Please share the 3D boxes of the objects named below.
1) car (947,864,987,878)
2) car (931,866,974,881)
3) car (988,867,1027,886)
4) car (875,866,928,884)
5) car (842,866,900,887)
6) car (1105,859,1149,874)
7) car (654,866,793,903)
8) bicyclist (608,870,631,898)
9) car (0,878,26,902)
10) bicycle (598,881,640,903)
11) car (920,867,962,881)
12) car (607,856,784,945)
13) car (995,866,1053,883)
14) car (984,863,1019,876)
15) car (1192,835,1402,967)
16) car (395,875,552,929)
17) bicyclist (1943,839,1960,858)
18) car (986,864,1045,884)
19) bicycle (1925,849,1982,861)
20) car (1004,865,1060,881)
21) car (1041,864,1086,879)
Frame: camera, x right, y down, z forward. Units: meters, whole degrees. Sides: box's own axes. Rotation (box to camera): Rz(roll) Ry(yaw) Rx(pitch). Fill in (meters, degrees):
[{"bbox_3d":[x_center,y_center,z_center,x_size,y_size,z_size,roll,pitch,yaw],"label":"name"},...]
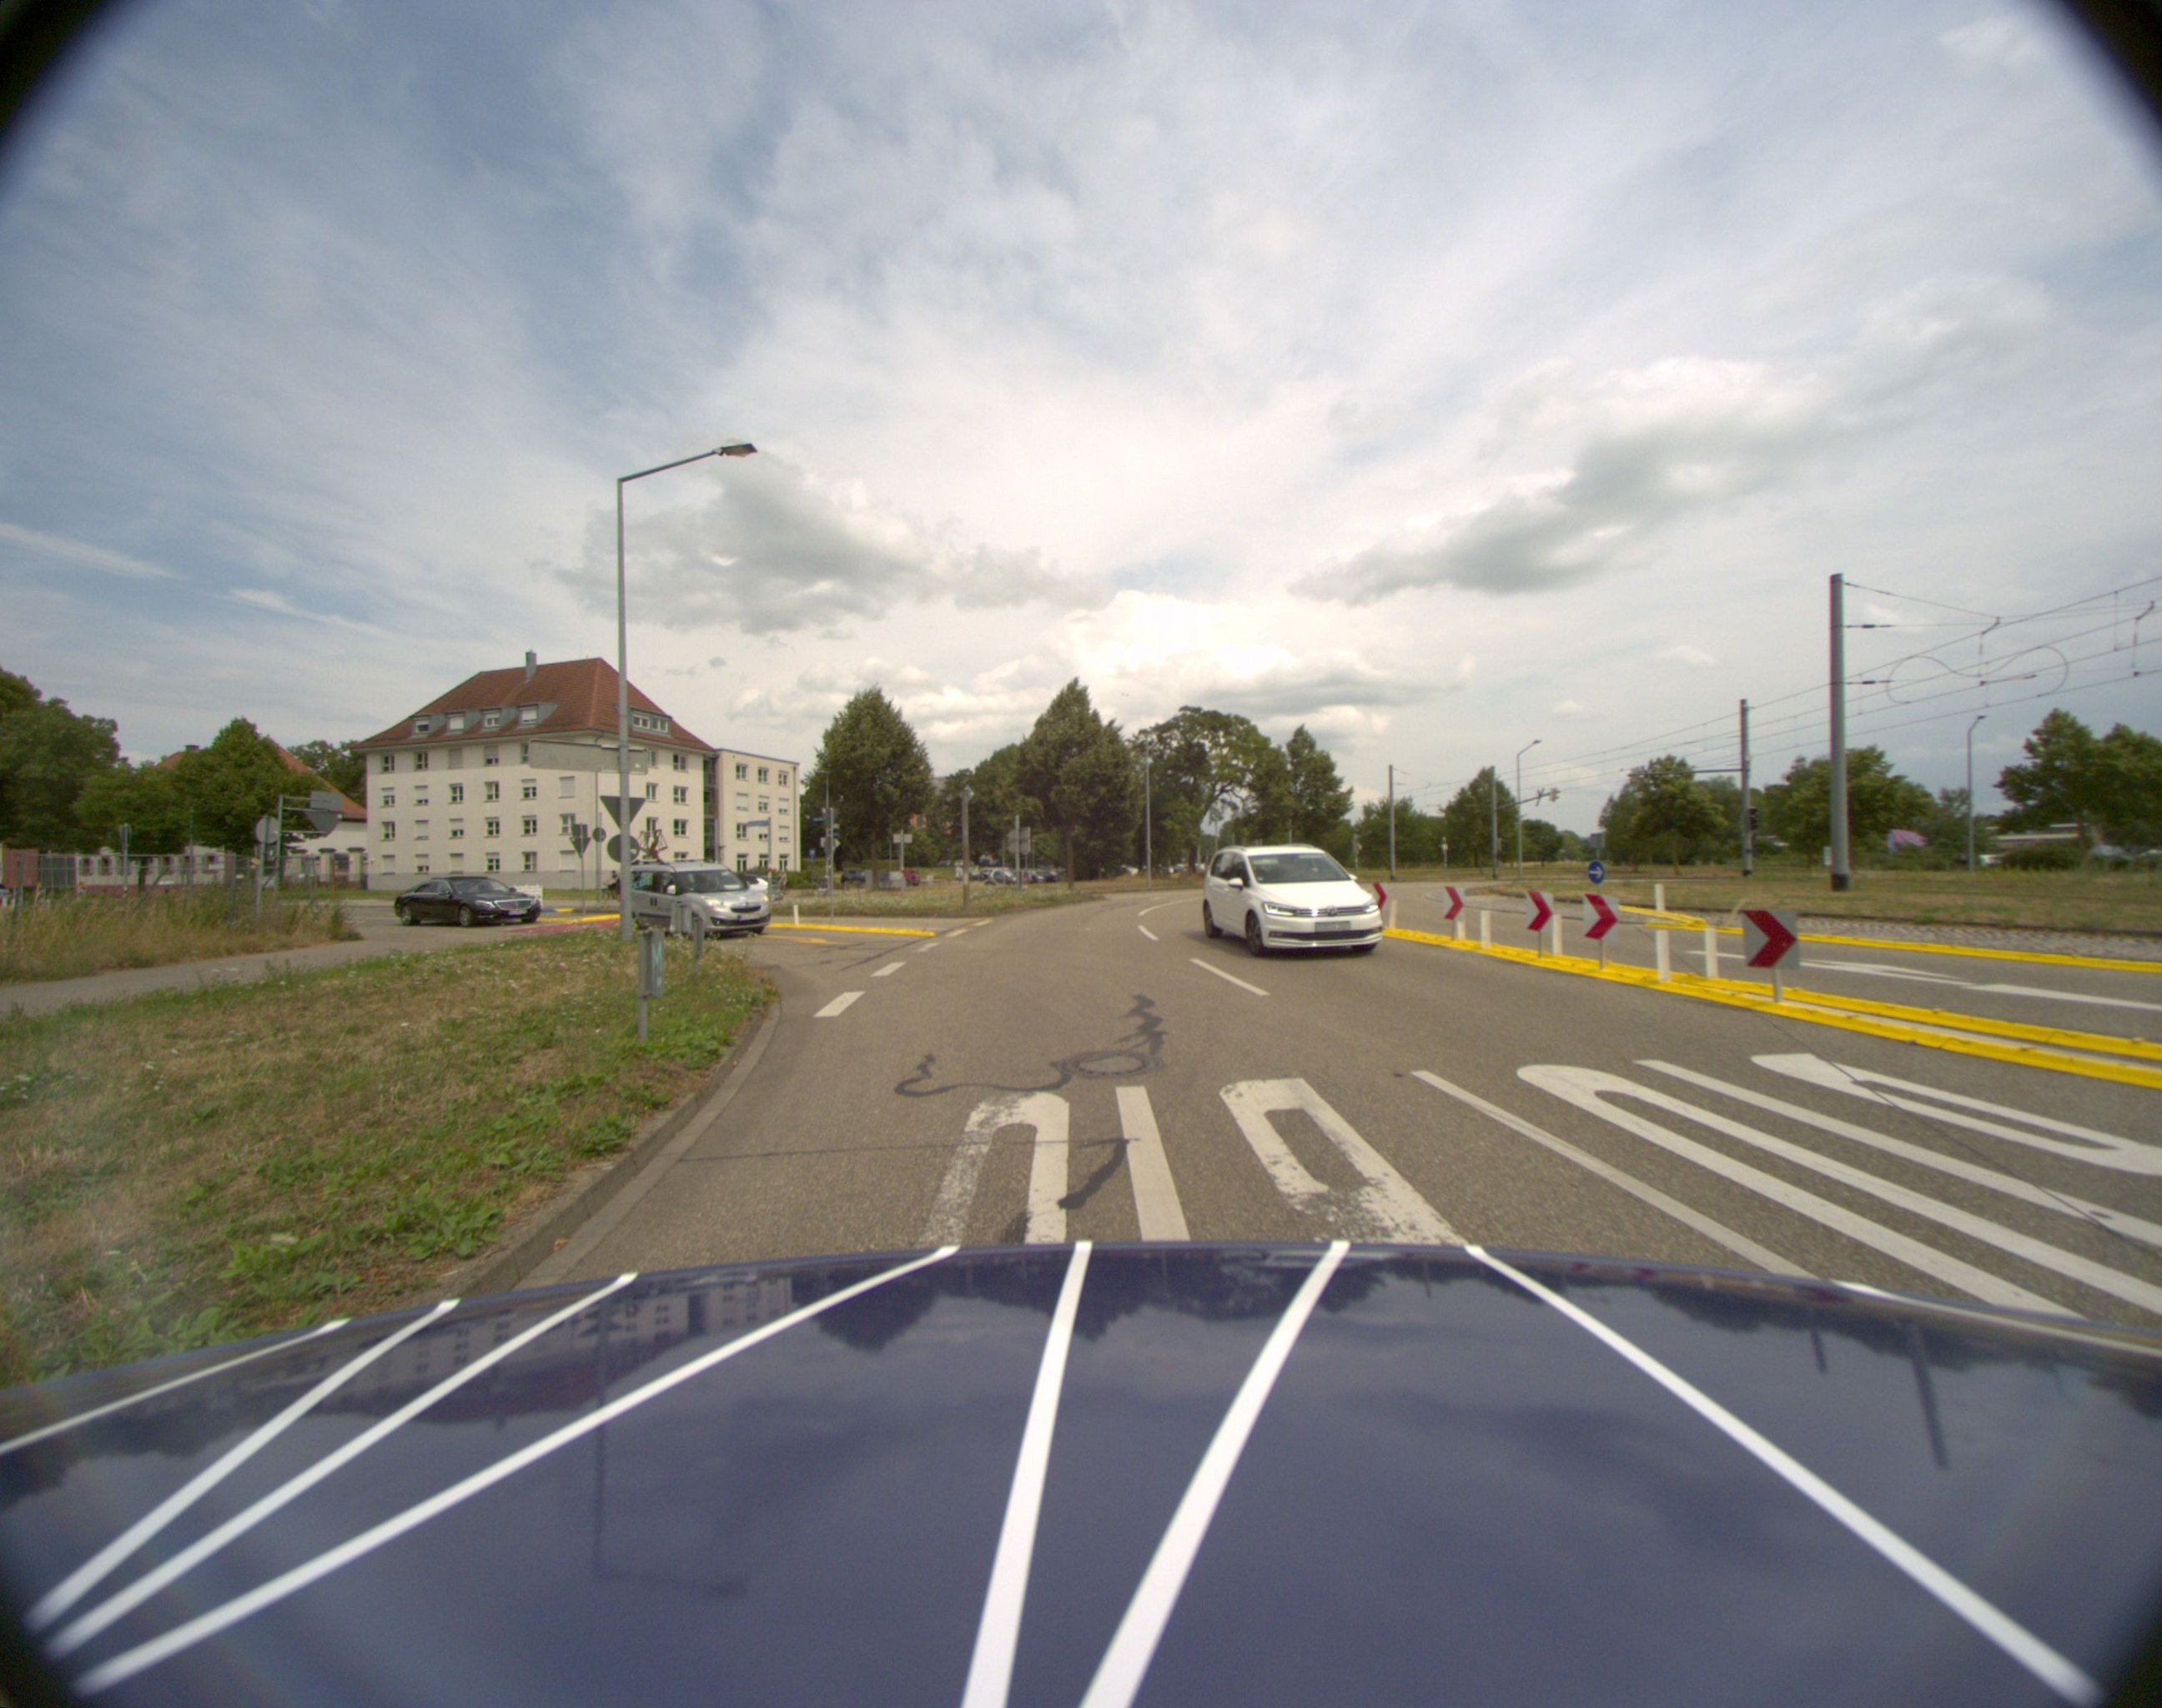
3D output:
[{"bbox_3d":[-12.691,1.934,84.812,3.999,1.459,1.820,-1,0,16],"label":"car"},{"bbox_3d":[-13.701,2.078,81.059,3.999,1.459,1.820,-1,0,16],"label":"car"},{"bbox_3d":[-6.194,1.913,64.145,2.912,1.414,1.485,-3,-1,10],"label":"car"},{"bbox_3d":[-16.846,1.970,71.486,4.398,1.588,2.003,-1,0,18],"label":"car"},{"bbox_3d":[-18.265,1.968,66.163,4.491,1.754,2.002,-1,0,16],"label":"car"},{"bbox_3d":[6.367,1.705,104.849,5.559,2.044,2.204,-1,0,17],"label":"car"},{"bbox_3d":[-15.736,1.314,33.695,5.182,1.473,1.999,-1,0,-5],"label":"car"},{"bbox_3d":[-24.149,1.579,39.750,0.600,1.415,0.805,-1,0,24],"label":"bicyclist"},{"bbox_3d":[-72.513,2.409,50.490,4.209,1.510,1.631,-1,0,18],"label":"car"},{"bbox_3d":[-24.149,1.980,39.729,0.600,1.040,1.832,-1,0,24],"label":"bicycle"},{"bbox_3d":[-14.536,2.081,79.078,3.999,1.459,1.617,-1,0,16],"label":"car"},{"bbox_3d":[-9.509,1.051,18.627,4.571,1.936,1.815,-1,0,33],"label":"car"},{"bbox_3d":[-5.223,1.892,69.400,4.879,1.462,1.835,-1,0,17],"label":"car"},{"bbox_3d":[-9.976,1.930,95.644,3.999,1.565,1.820,-1,-1,16],"label":"car"},{"bbox_3d":[3.207,0.627,12.310,1.937,1.656,4.354,-3,0,-2],"label":"car"},{"bbox_3d":[-19.013,1.487,23.743,4.858,1.495,1.822,-2,0,25],"label":"car"},{"bbox_3d":[64.595,-0.426,56.387,0.865,1.401,0.673,-1,0,-30],"label":"bicyclist"},{"bbox_3d":[-5.739,1.775,66.661,4.698,1.462,1.835,-3,-1,14],"label":"car"},{"bbox_3d":[64.639,0.084,56.349,0.865,0.850,2.653,-1,0,-30],"label":"bicycle"},{"bbox_3d":[-4.646,1.802,71.737,4.879,1.462,1.835,-1,0,17],"label":"car"},{"bbox_3d":[-1.826,1.893,81.061,4.378,1.462,1.835,-1,0,17],"label":"car"}]
